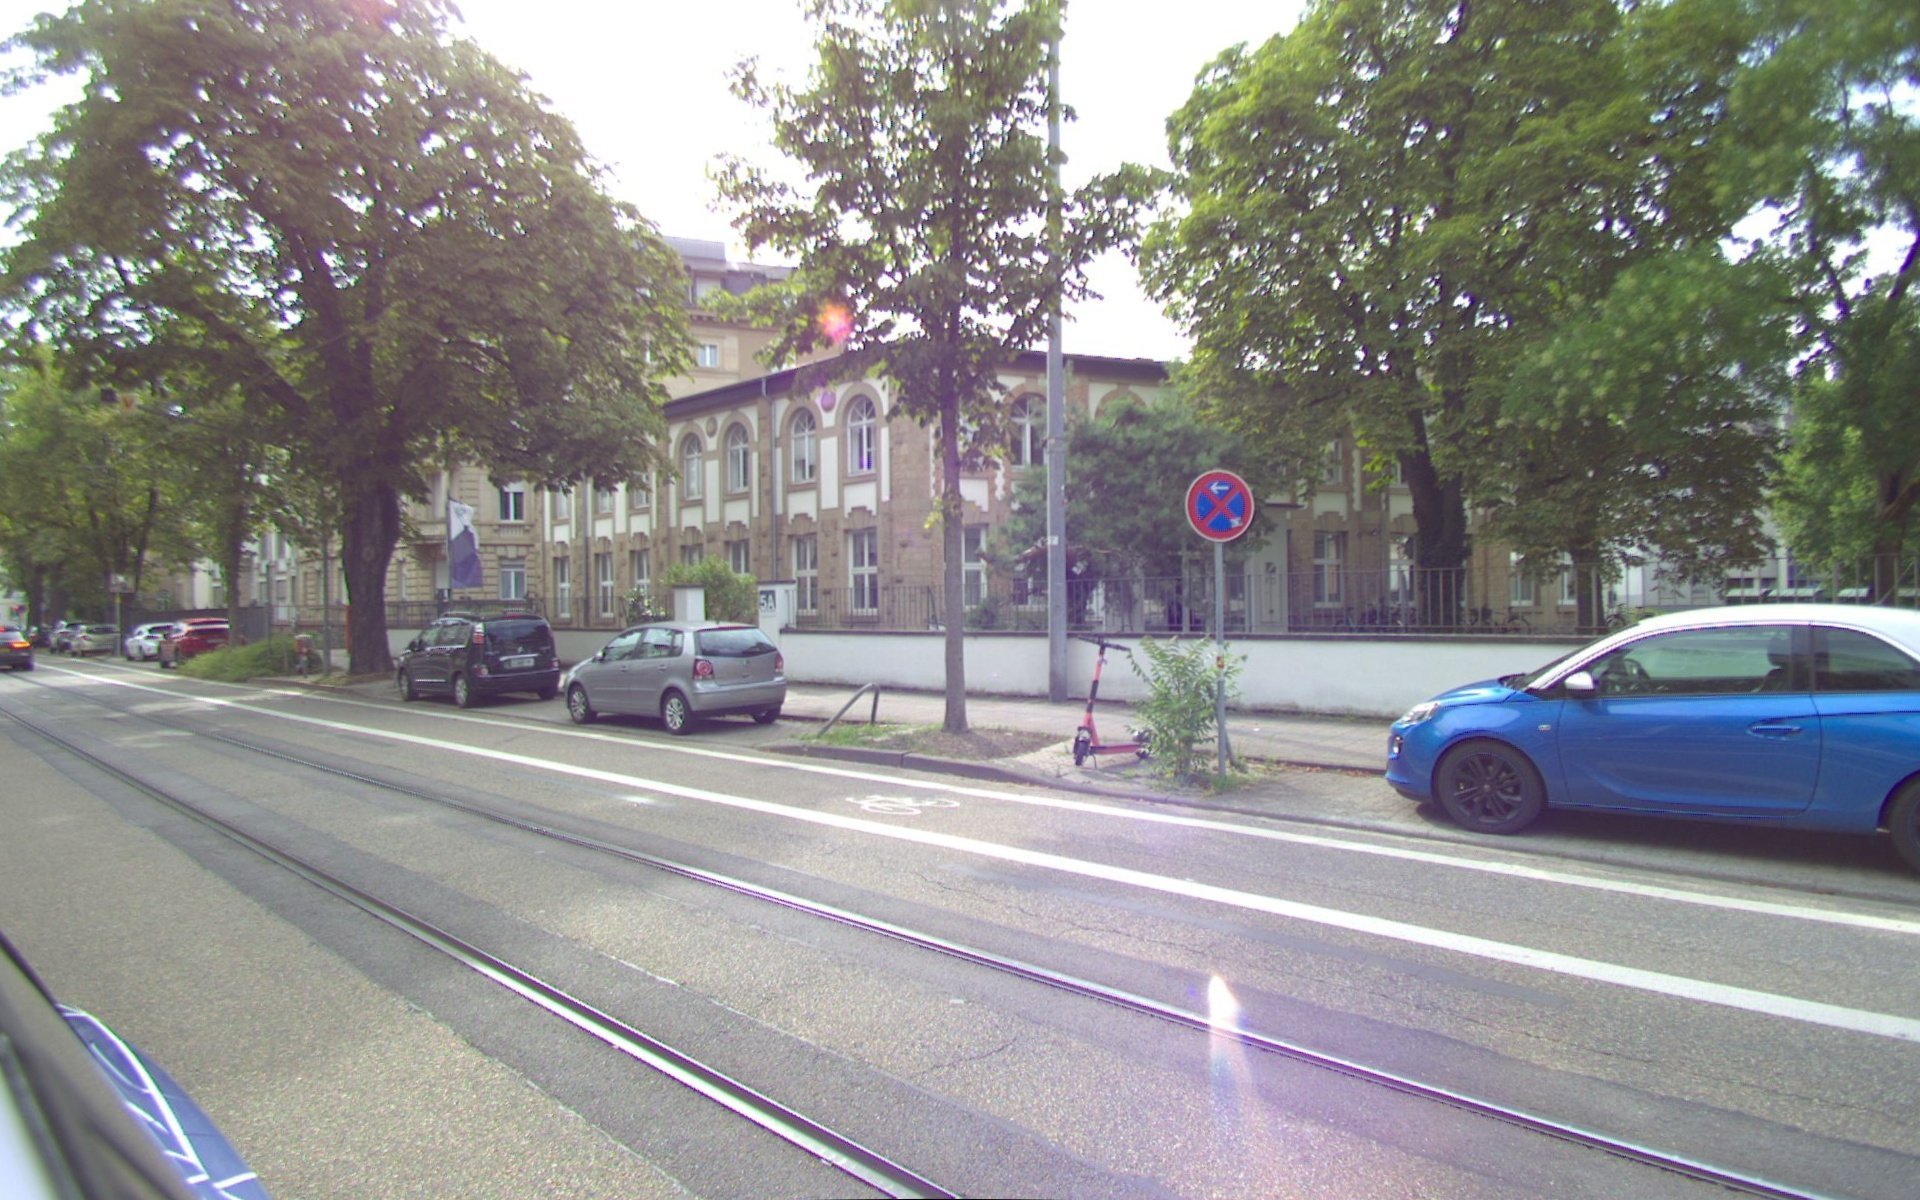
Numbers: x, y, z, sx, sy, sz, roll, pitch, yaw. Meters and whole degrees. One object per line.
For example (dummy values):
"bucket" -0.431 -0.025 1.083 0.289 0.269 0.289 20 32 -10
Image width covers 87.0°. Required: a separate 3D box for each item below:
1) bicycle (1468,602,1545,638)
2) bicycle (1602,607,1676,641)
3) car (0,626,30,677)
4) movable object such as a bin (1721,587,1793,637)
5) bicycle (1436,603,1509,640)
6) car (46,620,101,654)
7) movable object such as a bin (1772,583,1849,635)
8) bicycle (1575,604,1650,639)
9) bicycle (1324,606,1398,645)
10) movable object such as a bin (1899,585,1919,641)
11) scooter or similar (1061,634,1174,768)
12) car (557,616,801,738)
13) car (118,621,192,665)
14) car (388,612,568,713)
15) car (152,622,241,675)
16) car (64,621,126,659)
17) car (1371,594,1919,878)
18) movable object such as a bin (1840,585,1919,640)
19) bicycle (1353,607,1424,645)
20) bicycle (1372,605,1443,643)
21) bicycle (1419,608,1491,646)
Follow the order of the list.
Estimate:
"bicycle" 16.697 0.603 30.975 1.978 1.051 0.586 -1 0 44
"bicycle" 21.846 0.770 32.603 0.584 1.051 1.984 -1 0 -23
"car" -30.962 1.620 32.073 4.142 1.526 1.763 -2 -1 41
"movable object such as a bin" 23.792 0.355 30.231 1.103 1.441 1.288 0 0 -21
"bicycle" 15.177 0.621 30.010 0.584 1.051 1.984 -1 0 -23
"car" -45.414 1.893 51.823 3.904 1.646 1.637 -2 -1 41
"movable object such as a bin" 24.304 0.258 28.935 1.103 1.441 1.288 0 0 -21
"bicycle" 20.626 0.661 32.051 0.584 1.051 1.984 -1 0 -23
"bicycle" 11.310 0.695 28.610 0.584 1.051 1.984 -1 0 -30
"movable object such as a bin" 25.392 0.335 26.155 1.103 1.441 1.288 0 0 -21
"scooter or similar" 1.482 0.925 9.507 0.987 1.176 0.370 -1 -1 -24
"car" -4.013 0.991 14.210 3.572 1.476 1.611 -2 -1 41
"car" -31.934 1.677 40.132 3.904 1.613 1.637 -2 -1 41
"car" -8.917 1.075 18.609 3.723 1.646 1.637 -2 -1 41
"car" -25.671 1.581 33.977 3.904 1.646 1.637 -2 -1 41
"car" -40.066 1.824 46.830 3.904 1.646 1.637 -2 -1 41
"car" 4.783 0.727 6.542 3.600 1.476 1.611 -2 -1 41
"movable object such as a bin" 25.014 0.339 27.474 1.103 1.441 1.288 0 0 -21
"bicycle" 12.189 0.726 28.846 0.584 1.051 1.984 -1 0 -23
"bicycle" 12.884 0.686 29.180 0.584 1.051 1.984 -1 0 -23
"bicycle" 14.484 0.777 29.671 0.584 1.051 1.984 -1 0 -23
